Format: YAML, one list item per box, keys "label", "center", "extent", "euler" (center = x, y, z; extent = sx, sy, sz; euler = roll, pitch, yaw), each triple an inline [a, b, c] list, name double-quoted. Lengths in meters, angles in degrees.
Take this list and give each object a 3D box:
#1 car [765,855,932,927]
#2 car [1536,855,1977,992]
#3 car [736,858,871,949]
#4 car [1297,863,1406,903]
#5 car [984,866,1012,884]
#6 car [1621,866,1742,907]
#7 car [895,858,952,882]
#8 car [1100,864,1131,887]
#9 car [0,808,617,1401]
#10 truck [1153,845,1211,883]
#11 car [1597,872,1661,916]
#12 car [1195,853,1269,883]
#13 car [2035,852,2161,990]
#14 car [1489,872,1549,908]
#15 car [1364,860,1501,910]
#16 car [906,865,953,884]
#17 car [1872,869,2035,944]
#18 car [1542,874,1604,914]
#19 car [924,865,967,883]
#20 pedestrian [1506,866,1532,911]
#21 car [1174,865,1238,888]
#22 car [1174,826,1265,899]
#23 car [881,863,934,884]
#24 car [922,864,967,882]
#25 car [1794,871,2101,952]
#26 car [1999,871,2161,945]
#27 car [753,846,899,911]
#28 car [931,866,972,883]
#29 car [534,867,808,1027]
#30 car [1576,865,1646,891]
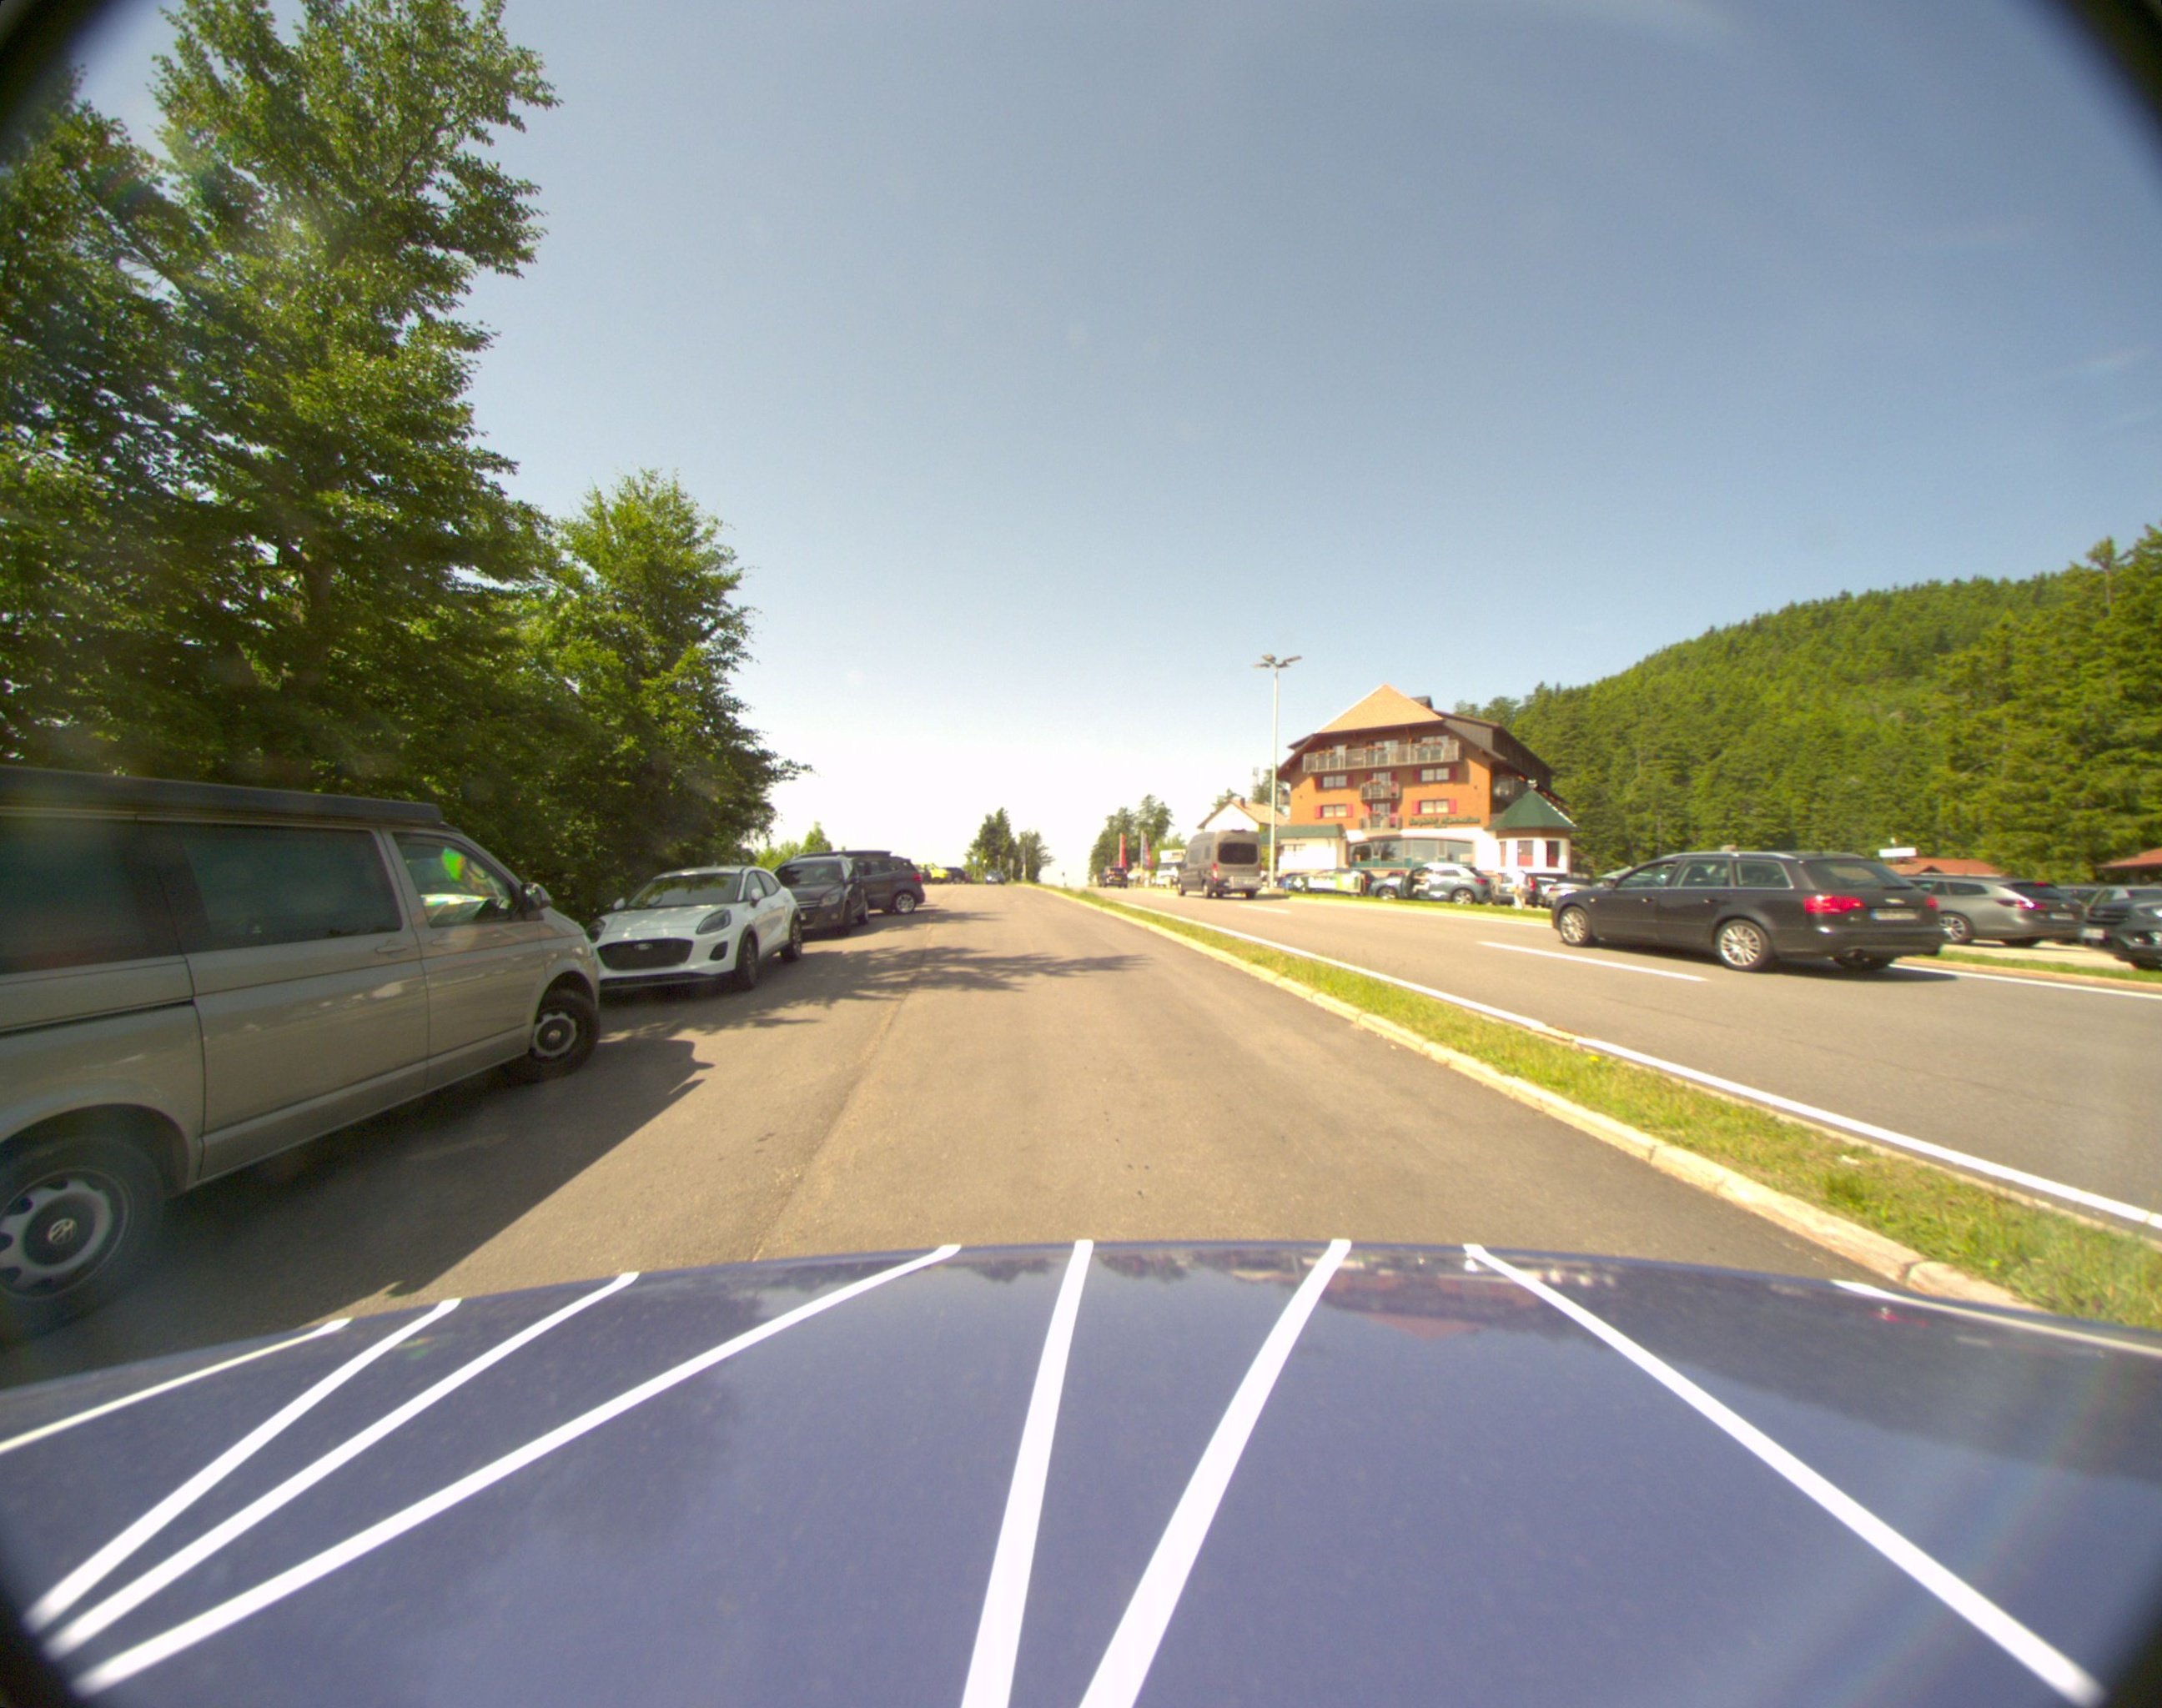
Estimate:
- label: "car"
  center: [-6.340, 0.947, 20.737]
  extent: [4.005, 1.609, 1.872]
  euler: [-3, 0, -27]
- label: "car"
  center: [8.501, 0.751, 10.254]
  extent: [1.711, 1.429, 4.447]
  euler: [1, 0, -6]
- label: "car"
  center: [-5.766, 0.932, 16.305]
  extent: [1.876, 1.609, 3.997]
  euler: [-3, 0, -8]
- label: "car"
  center: [12.150, 1.272, 34.263]
  extent: [4.258, 1.619, 1.828]
  euler: [1, 0, 35]
- label: "car"
  center: [-7.881, 1.987, 72.442]
  extent: [1.874, 1.605, 3.915]
  euler: [1, 0, 5]
- label: "car"
  center: [26.352, 1.377, 33.536]
  extent: [4.082, 1.619, 1.828]
  euler: [1, 0, 35]
- label: "car"
  center: [-13.184, 1.324, 63.851]
  extent: [4.459, 1.914, 1.875]
  euler: [1, 0, -5]
- label: "car"
  center: [2.646, 1.661, 59.093]
  extent: [1.722, 1.672, 4.127]
  euler: [0, 0, -7]
- label: "car"
  center: [-4.580, 0.864, 3.802]
  extent: [1.862, 1.924, 4.607]
  euler: [-3, 0, -4]
- label: "truck"
  center: [10.906, 1.067, 81.141]
  extent: [2.876, 3.798, 9.036]
  euler: [-2, -1, 30]
- label: "car"
  center: [20.915, 1.467, 28.943]
  extent: [1.818, 1.504, 4.104]
  euler: [1, 0, 38]
- label: "car"
  center: [14.740, 1.349, 74.193]
  extent: [6.954, 2.774, 2.669]
  euler: [1, 0, 11]
- label: "car"
  center: [14.923, 0.841, 8.772]
  extent: [4.539, 1.646, 1.726]
  euler: [1, 0, 34]
- label: "car"
  center: [20.251, 1.598, 35.089]
  extent: [1.818, 1.504, 4.104]
  euler: [1, 0, 38]
- label: "car"
  center: [12.843, 1.089, 27.875]
  extent: [4.258, 1.619, 1.828]
  euler: [1, 0, 35]
- label: "car"
  center: [-13.355, 1.829, 67.071]
  extent: [3.912, 1.605, 1.875]
  euler: [1, 0, -5]
- label: "car"
  center: [22.570, 1.265, 19.860]
  extent: [1.914, 1.705, 4.104]
  euler: [1, 0, 36]
- label: "car"
  center: [21.018, 1.646, 32.388]
  extent: [1.818, 1.504, 4.104]
  euler: [1, 0, 38]
- label: "car"
  center: [-12.920, 1.891, 72.616]
  extent: [3.912, 1.605, 1.875]
  euler: [1, 0, -5]
- label: "pedestrian"
  center: [16.183, 1.269, 28.083]
  extent: [0.744, 1.615, 0.684]
  euler: [1, 0, 22]
- label: "car"
  center: [8.932, 1.559, 54.421]
  extent: [4.083, 1.518, 1.828]
  euler: [1, 0, 31]
- label: "car"
  center: [5.588, 0.334, 31.631]
  extent: [2.018, 2.735, 5.913]
  euler: [1, 0, -7]
- label: "car"
  center: [-13.896, 1.533, 61.022]
  extent: [3.912, 1.605, 1.875]
  euler: [1, 0, -5]
- label: "car"
  center: [-12.573, 1.775, 70.031]
  extent: [3.912, 1.605, 1.875]
  euler: [1, 0, -5]
- label: "car"
  center: [18.264, 1.136, 16.328]
  extent: [1.723, 1.422, 3.995]
  euler: [1, 0, -13]
- label: "car"
  center: [26.106, 1.313, 18.717]
  extent: [4.082, 1.705, 1.925]
  euler: [1, 0, 36]
- label: "car"
  center: [-8.825, 0.806, 26.336]
  extent: [4.466, 1.914, 1.872]
  euler: [-3, 0, -27]
- label: "car"
  center: [-13.004, 2.034, 76.687]
  extent: [3.912, 1.605, 1.875]
  euler: [1, 0, -5]
- label: "car"
  center: [-5.067, 1.021, 10.101]
  extent: [1.876, 1.538, 3.997]
  euler: [-3, 0, -8]
- label: "car"
  center: [38.675, 1.711, 55.482]
  extent: [4.082, 1.705, 1.925]
  euler: [1, 0, 36]
